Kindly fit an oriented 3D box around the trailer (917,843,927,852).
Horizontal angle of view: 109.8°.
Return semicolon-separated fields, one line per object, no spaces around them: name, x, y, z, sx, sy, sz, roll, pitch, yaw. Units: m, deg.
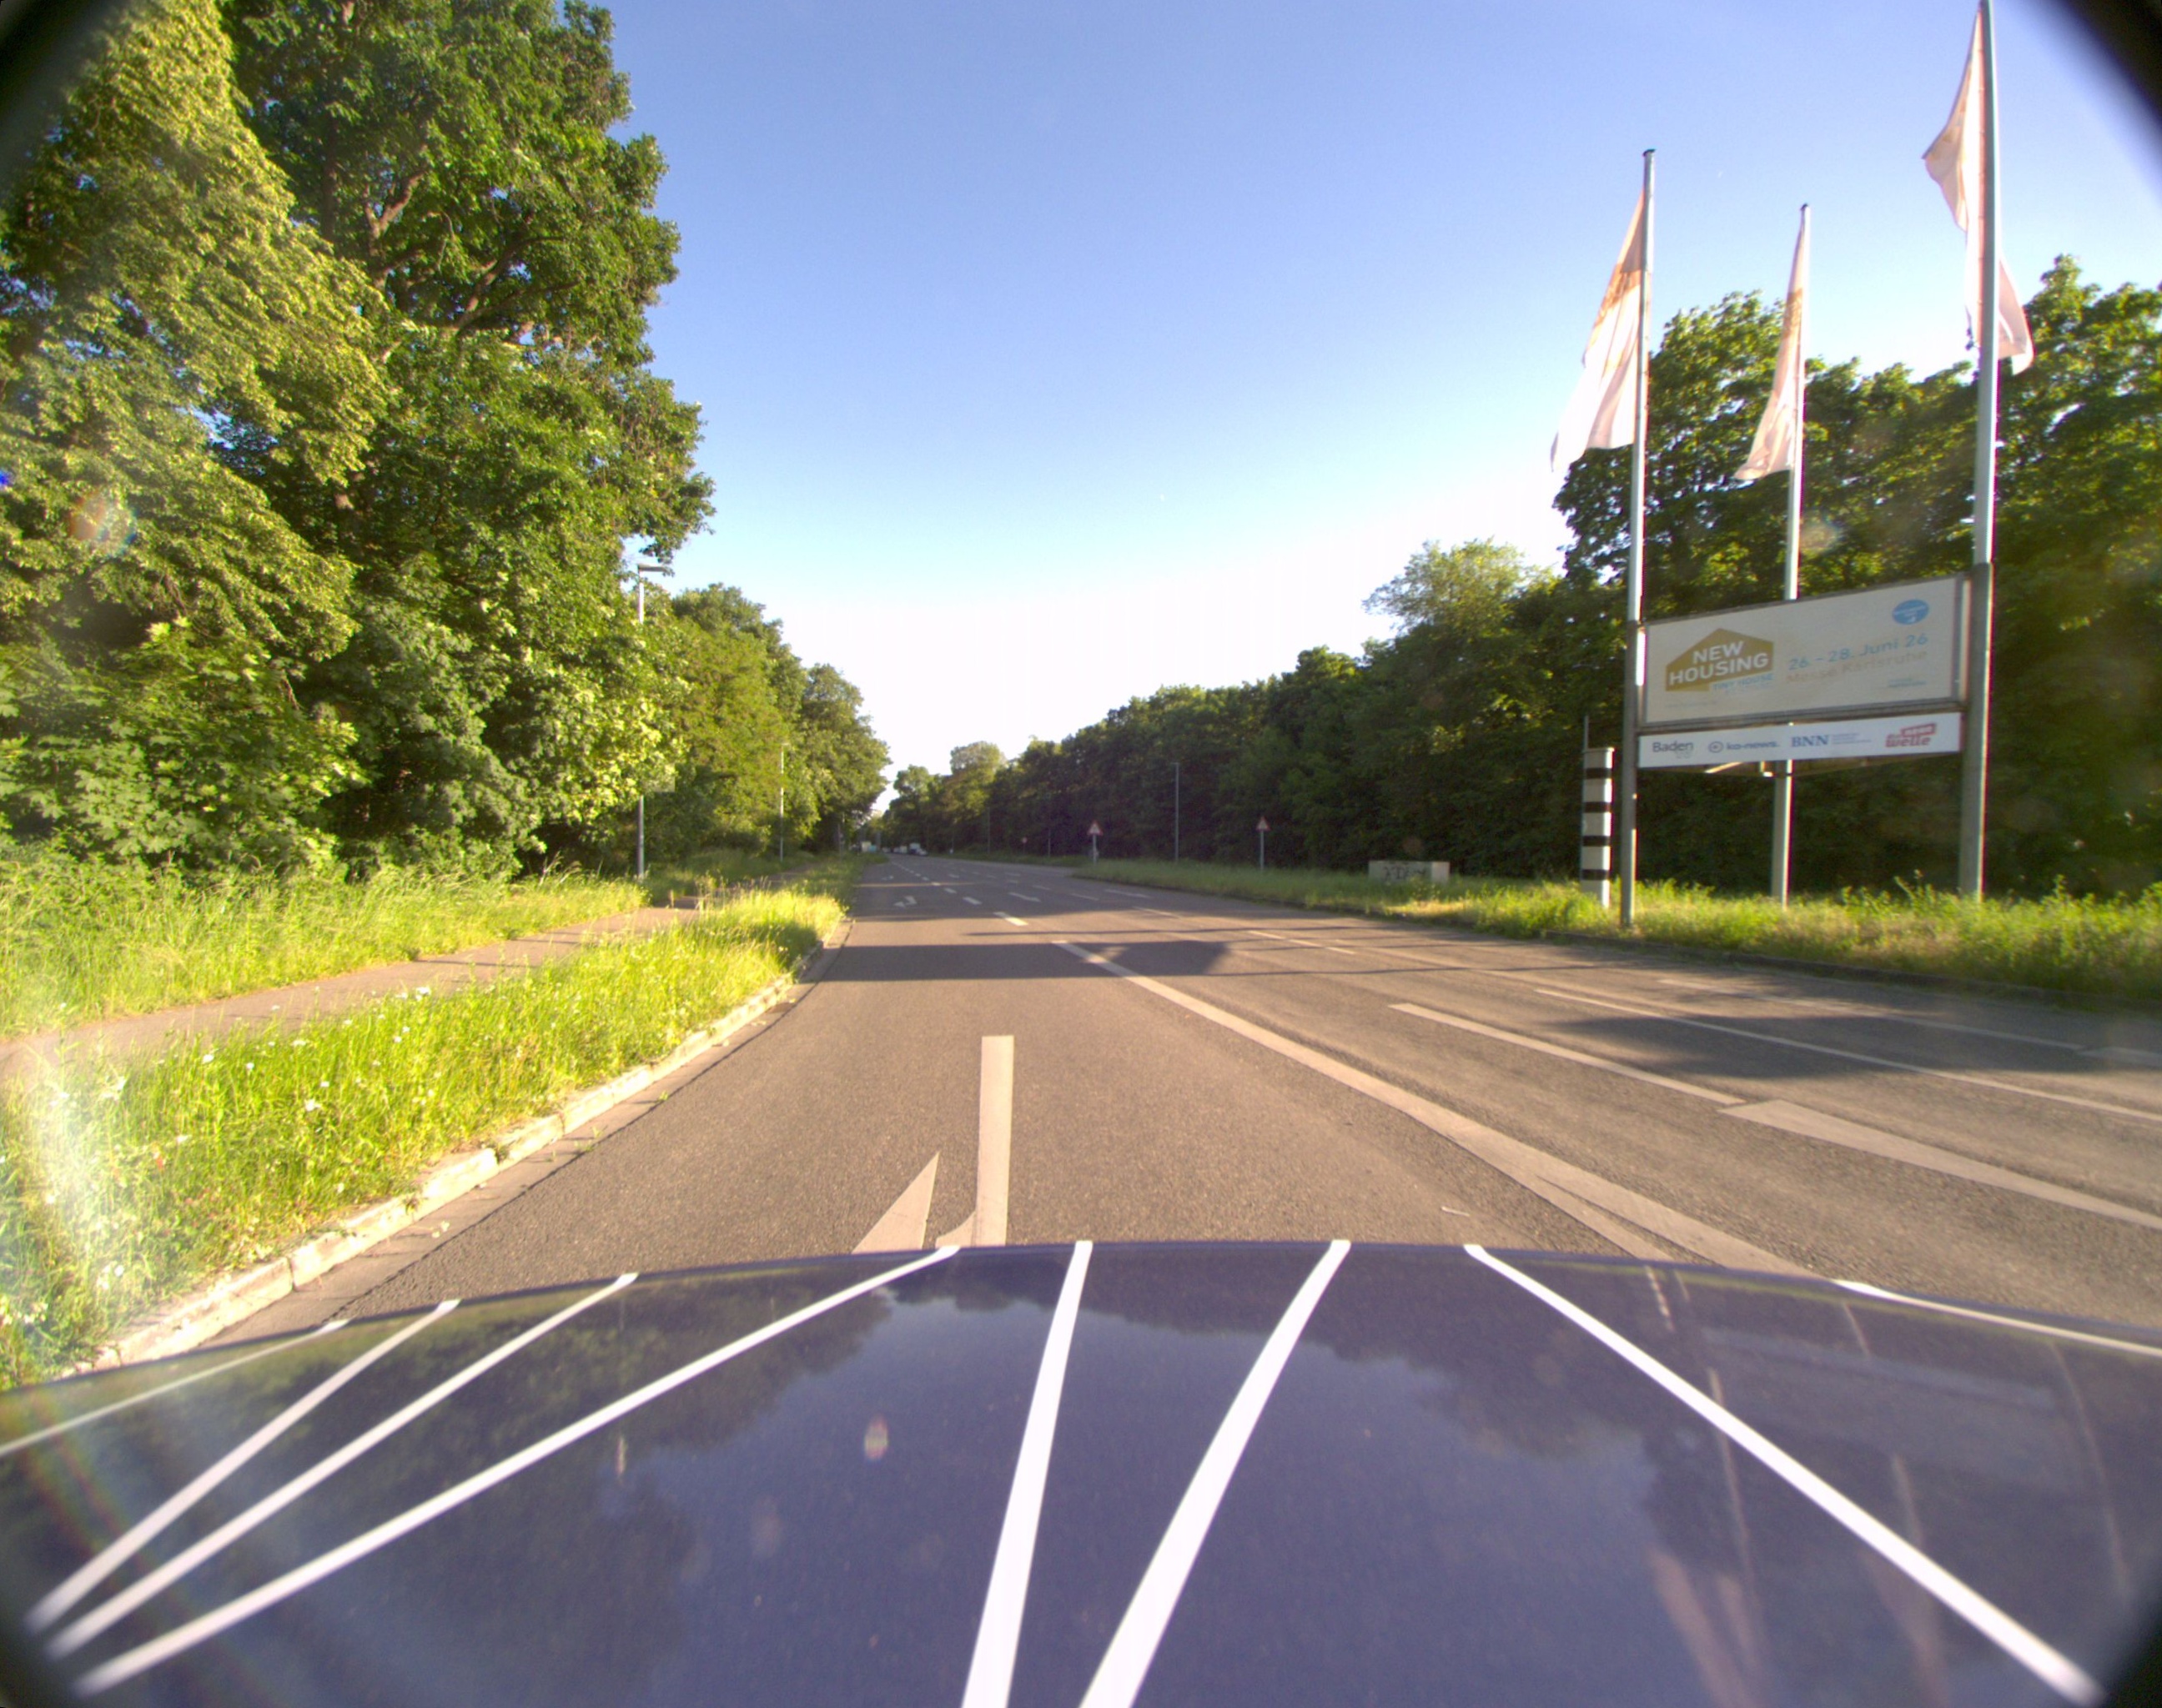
trailer;-35.383;-1.444;168.980;1.809;1.719;3.641;2;1;-19

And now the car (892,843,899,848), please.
car;-58.014;-2.661;237.746;1.809;1.496;3.905;2;1;-19

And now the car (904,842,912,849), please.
car;-48.172;-2.359;211.129;1.694;2.089;4.624;1;1;-19

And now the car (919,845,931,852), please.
car;-33.737;-1.245;164.253;1.918;1.455;4.004;2;1;-19

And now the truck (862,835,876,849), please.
truck;-50.935;-2.787;182.356;2.710;3.219;7.115;1;1;-19

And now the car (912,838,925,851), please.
car;-38.734;-2.276;180.803;2.464;2.831;4.790;1;1;-19

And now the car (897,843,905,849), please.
car;-52.859;-2.327;222.778;1.809;1.496;3.905;2;1;-19

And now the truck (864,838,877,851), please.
truck;-48.130;-2.154;173.338;2.393;2.856;5.588;-2;2;-19

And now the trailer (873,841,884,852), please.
trailer;-41.836;-1.599;156.849;1.872;2.166;4.121;-1;2;-19

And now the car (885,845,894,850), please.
car;-55.778;-1.815;221.270;1.836;1.447;4.472;0;1;-20
